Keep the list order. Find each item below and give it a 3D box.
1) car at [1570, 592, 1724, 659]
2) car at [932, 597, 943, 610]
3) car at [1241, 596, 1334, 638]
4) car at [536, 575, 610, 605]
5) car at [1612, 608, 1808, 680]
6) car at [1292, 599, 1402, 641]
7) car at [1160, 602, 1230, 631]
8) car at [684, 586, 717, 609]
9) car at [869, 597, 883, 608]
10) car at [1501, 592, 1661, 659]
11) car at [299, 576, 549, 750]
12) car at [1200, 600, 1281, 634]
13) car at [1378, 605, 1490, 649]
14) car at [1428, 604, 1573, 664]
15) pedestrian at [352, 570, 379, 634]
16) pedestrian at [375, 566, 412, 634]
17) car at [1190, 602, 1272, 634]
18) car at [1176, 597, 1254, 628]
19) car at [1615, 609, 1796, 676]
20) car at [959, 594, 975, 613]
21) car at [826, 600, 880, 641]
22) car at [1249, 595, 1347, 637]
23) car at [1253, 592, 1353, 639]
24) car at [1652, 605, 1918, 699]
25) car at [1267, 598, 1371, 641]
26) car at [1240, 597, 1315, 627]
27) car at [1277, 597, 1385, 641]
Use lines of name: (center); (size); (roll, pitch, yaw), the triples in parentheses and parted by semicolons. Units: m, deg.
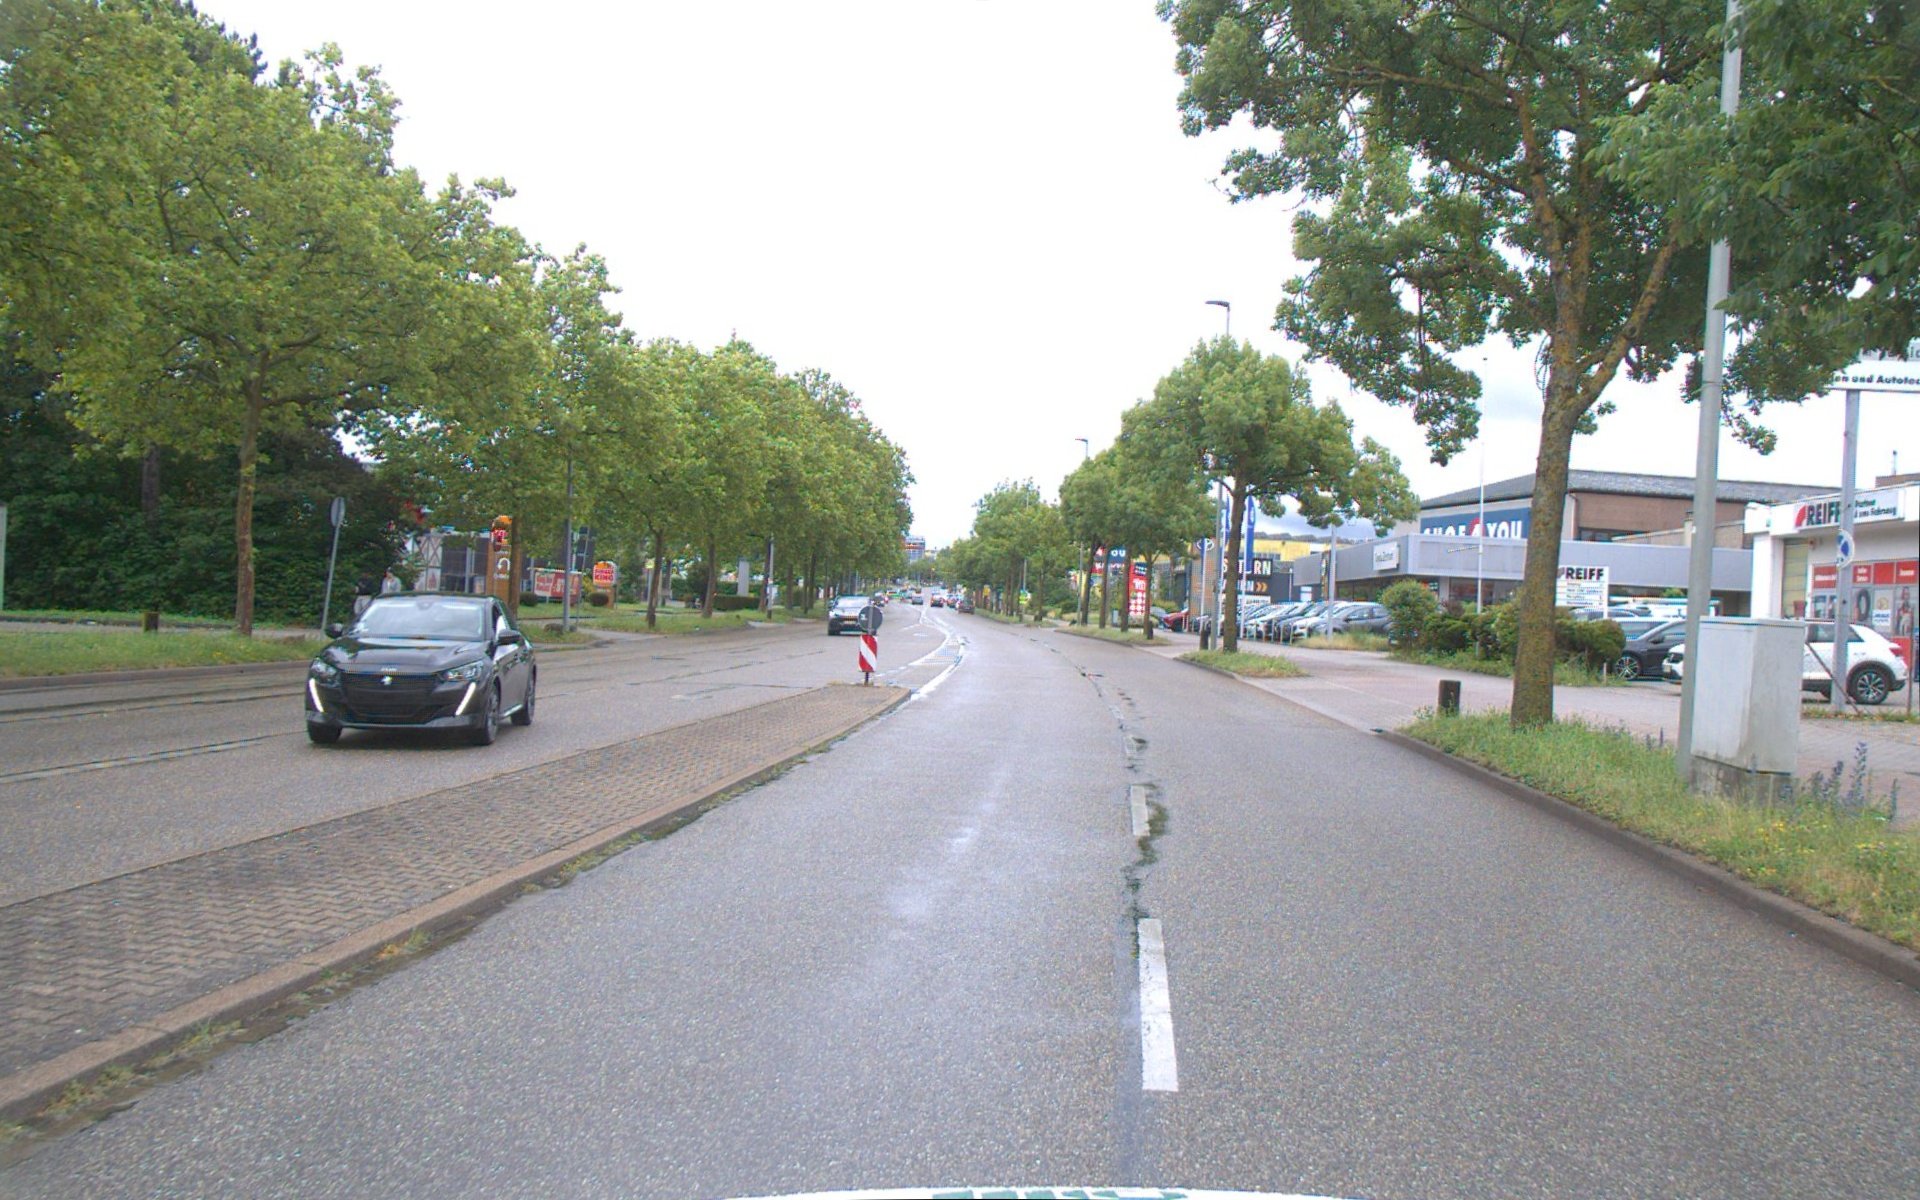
car: (24.003, 0.879, 57.896); (4.559, 2.187, 1.964); (2, 0, -1)
car: (-3.556, 0.549, 259.718); (1.709, 2.049, 4.000); (2, 0, 0)
car: (15.093, 0.760, 76.335); (3.905, 1.818, 1.812); (1, 0, 1)
car: (-18.436, -0.480, 78.810); (3.108, 1.175, 1.291); (5, 0, 7)
car: (17.442, 1.008, 38.638); (3.902, 1.549, 1.719); (1, 0, 14)
car: (14.917, 0.762, 63.886); (3.755, 1.487, 1.827); (-2, 0, -2)
car: (13.489, 0.924, 95.095); (3.763, 1.632, 1.795); (-1, 0, -1)
car: (-17.876, -0.177, 113.932); (1.787, 1.512, 3.937); (2, 0, -3)
car: (-11.154, 0.322, 220.027); (1.767, 1.488, 3.845); (1, 0, -1)
car: (17.308, 0.690, 46.113); (4.058, 1.691, 1.821); (1, 2, 23)
car: (-5.316, 0.568, 16.872); (1.611, 1.534, 3.888); (1, 0, -6)
car: (14.318, 0.864, 84.466); (3.763, 1.593, 1.665); (-2, 0, -4)
car: (17.330, 0.983, 60.565); (3.603, 1.489, 1.794); (1, 0, 0)
car: (15.991, 0.975, 48.931); (3.971, 1.625, 1.985); (1, 0, 20)
pedestrian: (-16.064, 0.063, 44.689); (0.501, 1.712, 0.540); (1, 0, 1)
pedestrian: (-15.331, -0.010, 44.752); (0.651, 1.797, 0.583); (3, 0, 22)
car: (14.133, 0.921, 86.361); (3.906, 1.565, 1.799); (1, 0, -1)
car: (13.868, 0.683, 90.093); (3.906, 1.676, 1.845); (0, 0, -1)
car: (18.507, 1.031, 41.217); (3.844, 1.550, 1.734); (1, 0, 14)
car: (0.739, 0.408, 186.534); (1.709, 2.049, 4.000); (2, 0, 0)
car: (-4.379, 0.827, 68.235); (1.774, 1.589, 4.599); (2, -1, 2)
car: (15.051, 0.690, 73.686); (3.907, 1.615, 1.811); (-3, 1, -2)
car: (14.671, 0.641, 70.892); (3.905, 1.817, 1.812); (-3, 0, 1)
car: (15.563, 0.953, 31.391); (4.086, 1.579, 1.891); (2, 0, 8)
car: (14.918, 0.800, 68.780); (3.905, 1.612, 1.812); (-2, 0, 1)
car: (18.169, 0.672, 94.854); (4.023, 1.650, 1.881); (0, 0, 3)
car: (14.881, 0.753, 66.526); (3.905, 1.570, 1.812); (-2, 0, 1)
